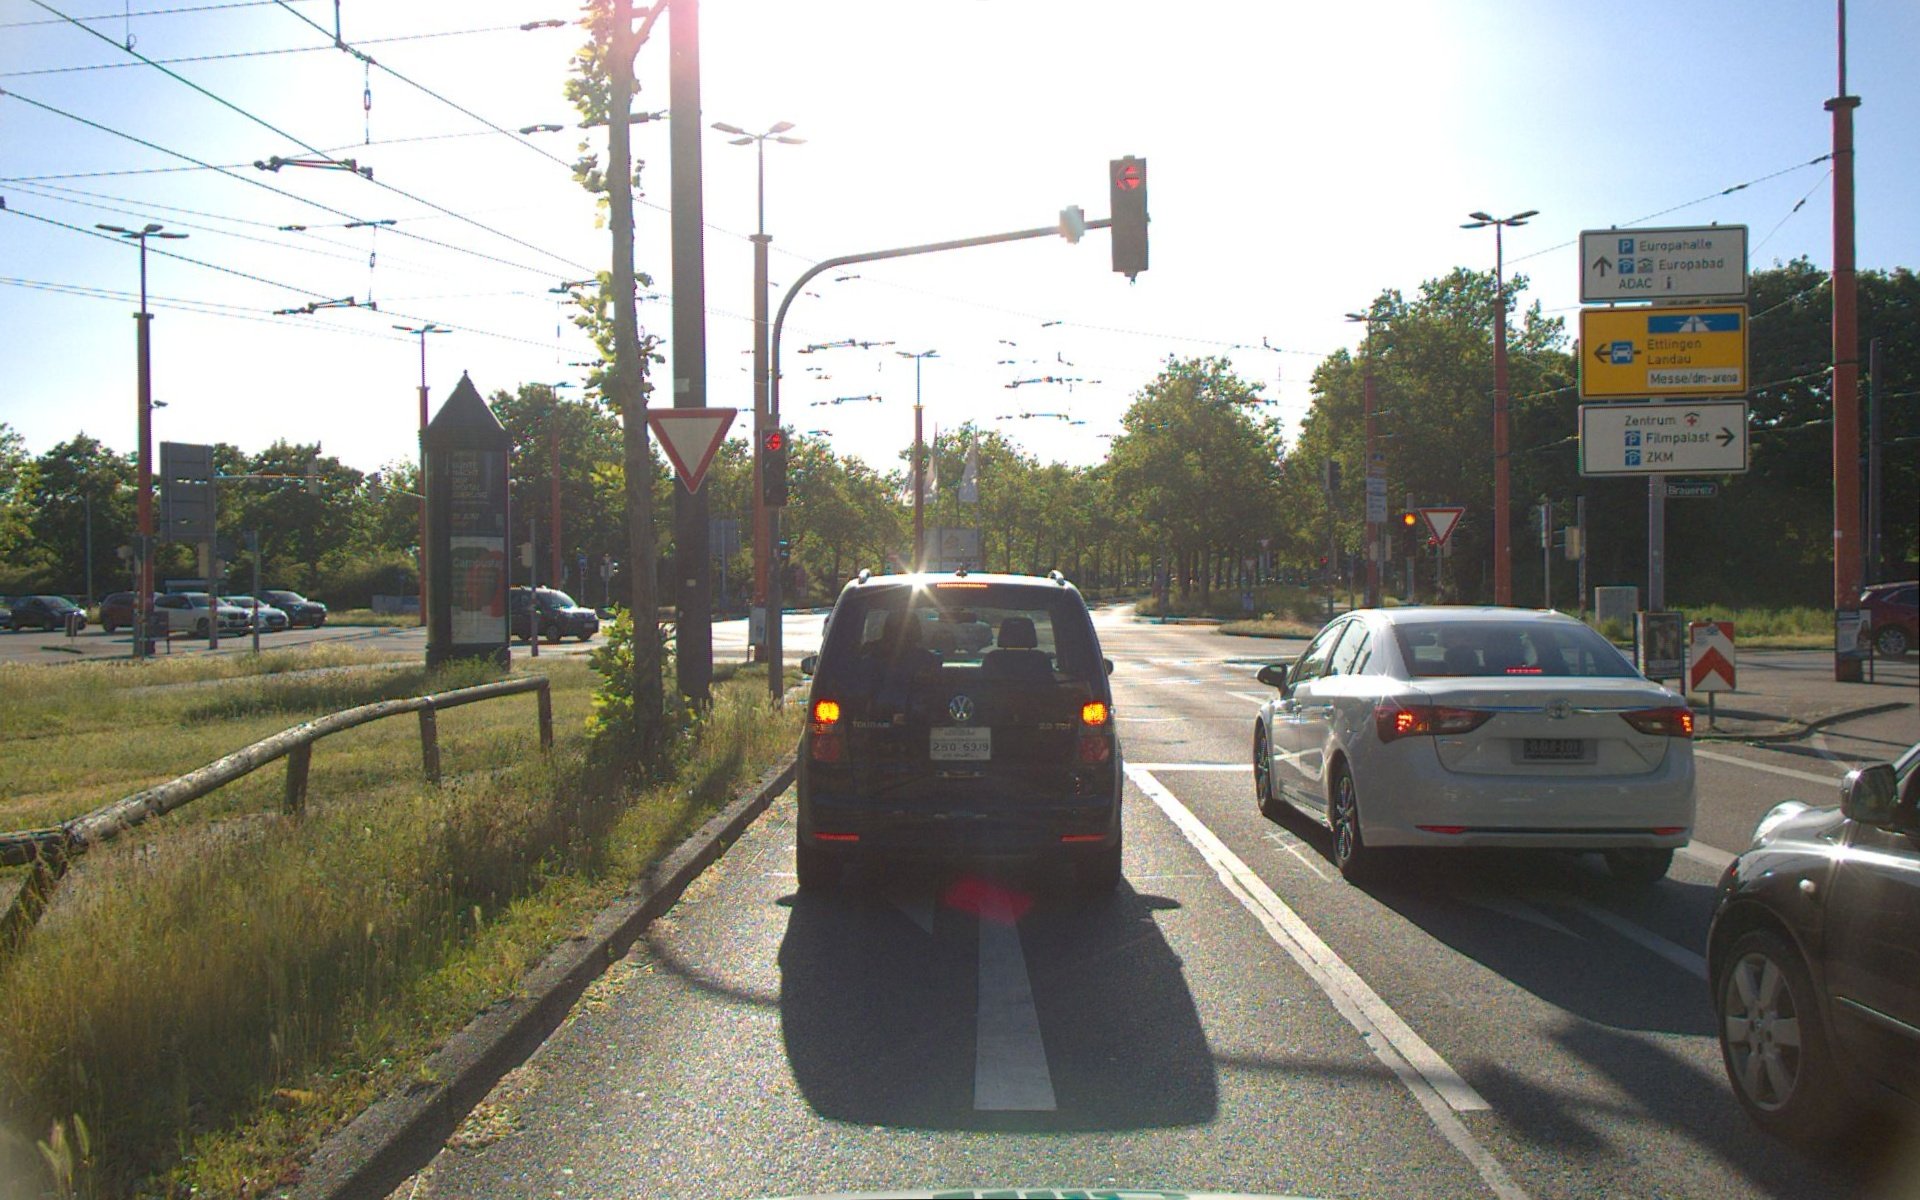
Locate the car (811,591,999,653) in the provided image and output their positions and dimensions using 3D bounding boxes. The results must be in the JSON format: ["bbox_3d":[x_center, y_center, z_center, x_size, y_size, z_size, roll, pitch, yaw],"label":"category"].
[{"bbox_3d":[-1.516,0.576,45.257,4.821,1.602,1.997,0,0,29],"label":"car"}]

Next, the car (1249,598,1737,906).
[{"bbox_3d":[2.950,0.738,10.104,1.679,1.480,4.144,0,0,0],"label":"car"}]

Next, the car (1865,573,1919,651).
[{"bbox_3d":[22.565,0.260,36.537,4.463,1.697,1.840,0,0,28],"label":"car"}]

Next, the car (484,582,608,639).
[{"bbox_3d":[-14.093,0.336,56.148,4.713,1.868,1.901,0,0,44],"label":"car"}]

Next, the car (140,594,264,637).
[{"bbox_3d":[-29.559,0.592,64.502,4.687,1.626,1.912,0,0,27],"label":"car"}]

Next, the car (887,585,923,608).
[{"bbox_3d":[-4.082,-0.261,122.976,1.951,1.714,4.832,0,0,7],"label":"car"}]

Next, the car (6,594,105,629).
[{"bbox_3d":[-39.996,0.504,73.160,3.963,1.489,1.912,0,0,26],"label":"car"}]

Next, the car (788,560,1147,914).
[{"bbox_3d":[0.009,0.641,9.860,1.702,1.670,3.999,0,0,-1],"label":"car"}]

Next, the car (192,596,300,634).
[{"bbox_3d":[-29.339,0.603,67.989,4.127,1.489,1.912,0,0,27],"label":"car"}]

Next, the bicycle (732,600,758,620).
[{"bbox_3d":[-12.222,0.565,94.216,0.719,1.109,1.962,0,0,18],"label":"bicycle"}]

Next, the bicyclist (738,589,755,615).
[{"bbox_3d":[-12.191,0.090,94.436,0.678,1.483,0.875,0,0,17],"label":"bicyclist"}]

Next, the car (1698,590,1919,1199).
[{"bbox_3d":[3.129,0.741,3.505,1.525,1.532,3.515,0,0,-1],"label":"car"}]

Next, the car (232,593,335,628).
[{"bbox_3d":[-29.216,0.448,71.376,4.127,1.489,1.912,0,0,27],"label":"car"}]

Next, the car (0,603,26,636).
[{"bbox_3d":[-45.043,0.887,75.768,4.143,1.489,1.913,0,0,26],"label":"car"}]
